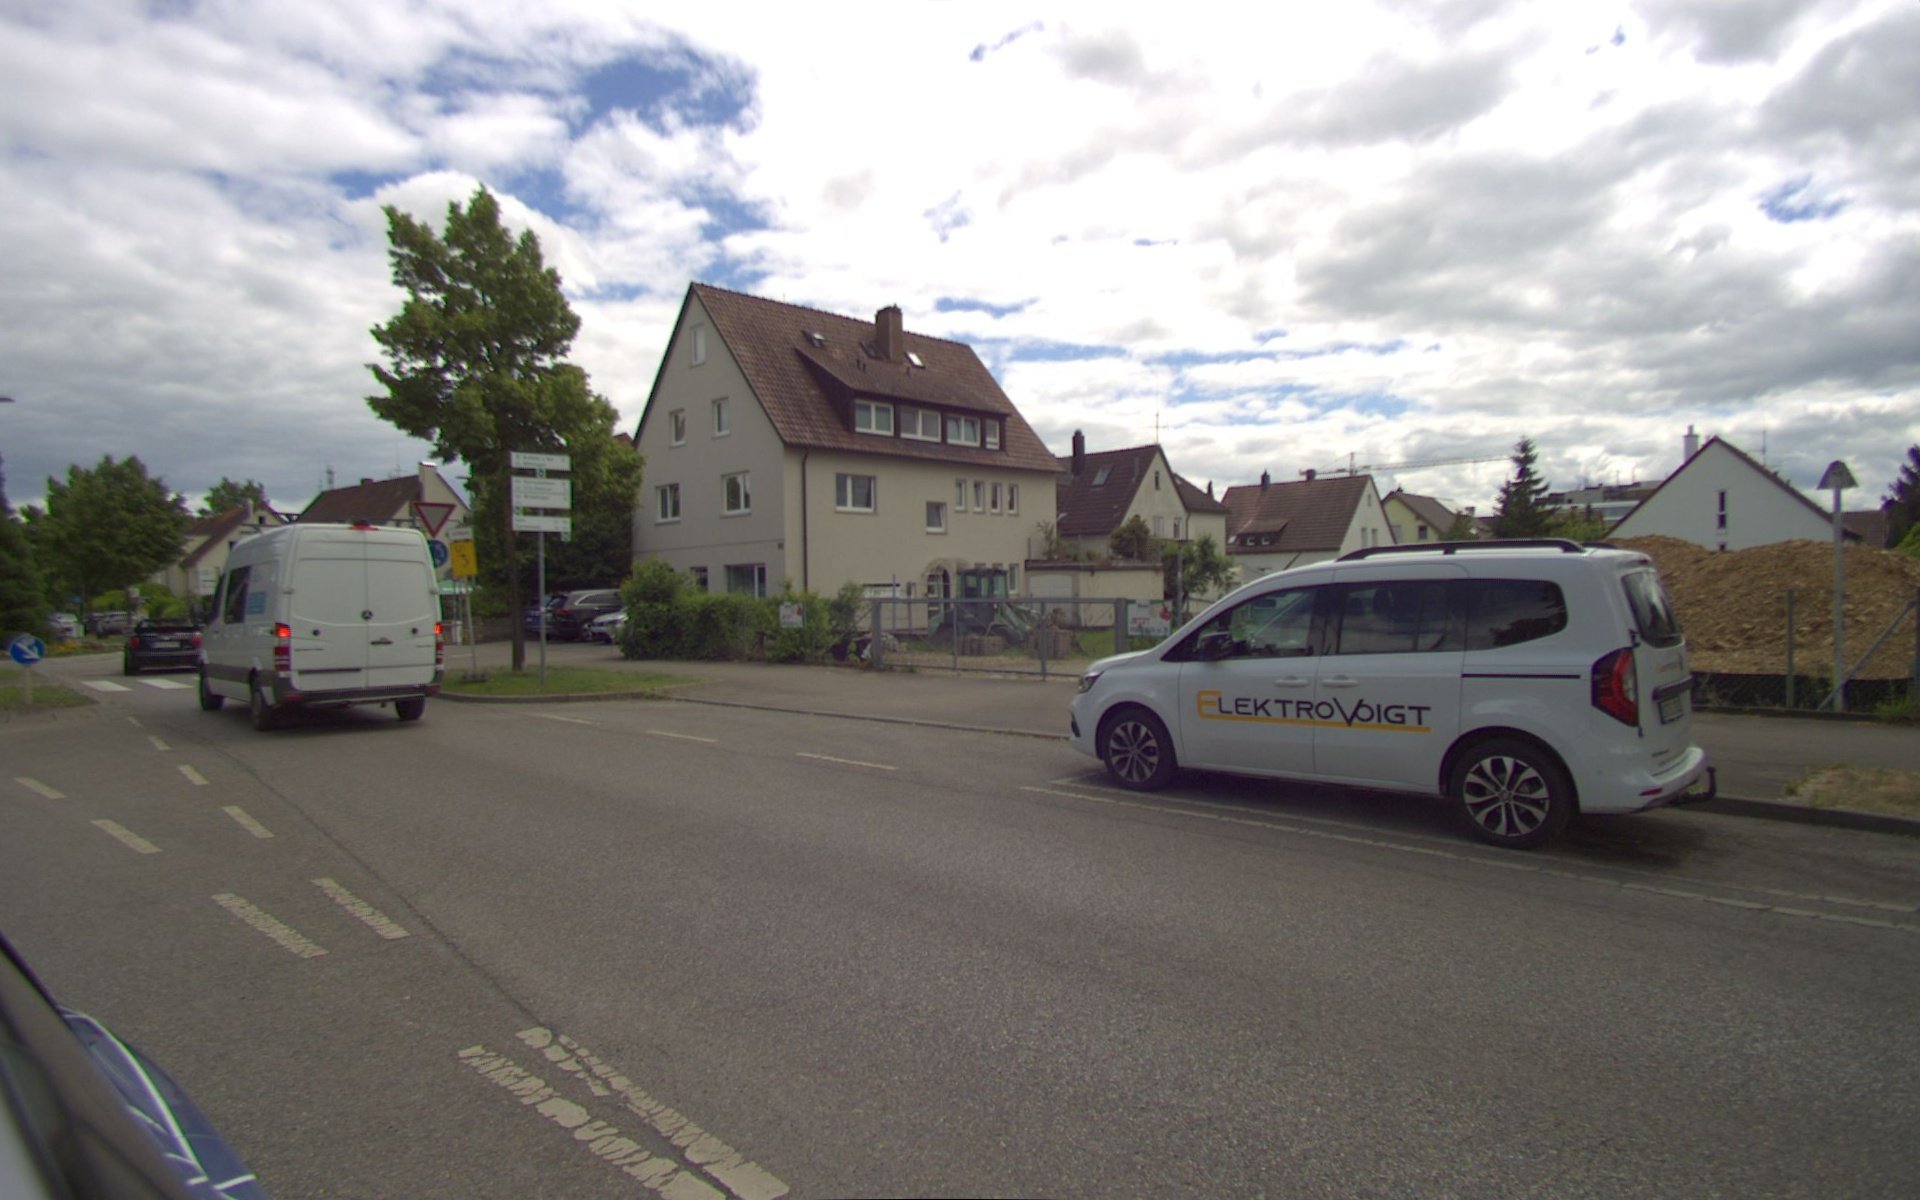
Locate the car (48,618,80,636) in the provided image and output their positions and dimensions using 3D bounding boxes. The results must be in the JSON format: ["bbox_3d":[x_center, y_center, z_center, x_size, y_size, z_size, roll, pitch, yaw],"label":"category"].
[{"bbox_3d":[-78.578,2.343,88.746,3.746,1.486,1.643,-1,0,42],"label":"car"}]

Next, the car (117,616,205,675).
[{"bbox_3d":[-20.659,1.132,26.130,1.554,1.372,3.747,-1,0,-42],"label":"car"}]

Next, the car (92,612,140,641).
[{"bbox_3d":[-51.977,1.618,62.312,4.047,1.648,1.728,-2,0,43],"label":"car"}]

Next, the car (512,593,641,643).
[{"bbox_3d":[-13.633,0.594,36.116,1.819,1.547,3.876,0,2,42],"label":"car"}]

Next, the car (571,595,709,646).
[{"bbox_3d":[-10.227,0.617,32.519,1.747,1.413,3.876,-1,1,42],"label":"car"}]

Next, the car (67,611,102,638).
[{"bbox_3d":[-63.532,1.754,73.421,1.726,1.843,4.051,-2,0,-43],"label":"car"}]

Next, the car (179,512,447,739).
[{"bbox_3d":[-9.577,0.334,14.716,5.807,2.694,1.996,-1,0,44],"label":"car"}]

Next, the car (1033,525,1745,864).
[{"bbox_3d":[2.865,0.524,7.551,4.552,1.784,1.750,-1,0,44],"label":"car"}]

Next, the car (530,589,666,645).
[{"bbox_3d":[-12.149,0.523,34.082,3.872,1.674,1.857,-3,2,-43],"label":"car"}]

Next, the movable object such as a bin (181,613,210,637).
[{"bbox_3d":[-47.360,1.557,62.685,2.722,1.427,0.971,-2,0,43],"label":"movable object such as a bin"}]

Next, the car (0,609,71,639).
[{"bbox_3d":[-46.201,1.181,49.805,4.469,1.382,1.605,0,0,18],"label":"car"}]

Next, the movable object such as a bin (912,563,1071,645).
[{"bbox_3d":[0.865,0.131,29.205,4.359,2.204,1.877,-1,0,41],"label":"movable object such as a bin"}]

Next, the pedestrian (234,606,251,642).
[{"bbox_3d":[-37.281,1.234,52.605,0.627,1.840,0.568,-2,0,-33],"label":"pedestrian"}]
